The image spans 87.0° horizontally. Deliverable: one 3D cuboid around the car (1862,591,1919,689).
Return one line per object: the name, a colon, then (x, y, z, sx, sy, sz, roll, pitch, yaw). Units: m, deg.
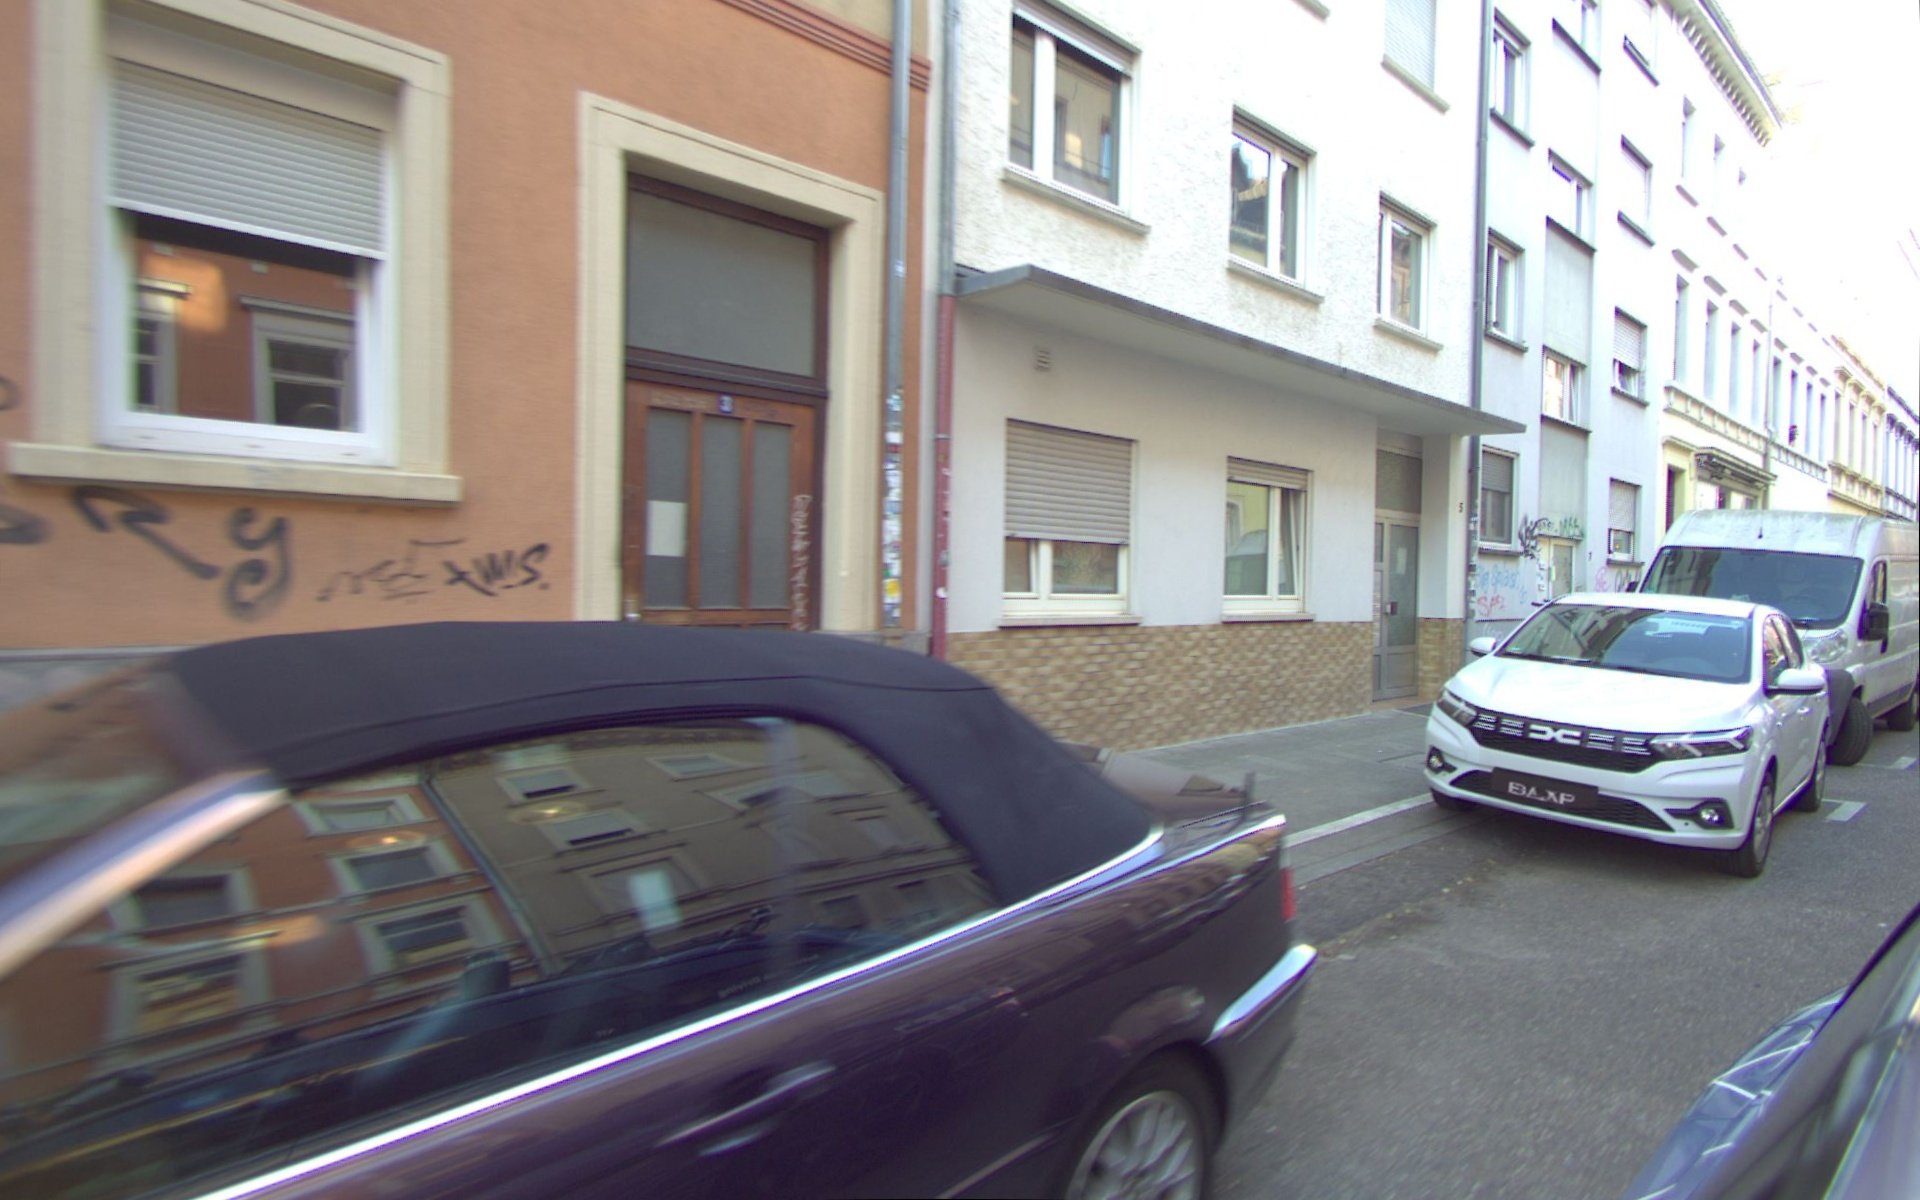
car: (17.077, 0.636, 17.539, 3.792, 1.585, 1.682, 0, 0, -41)

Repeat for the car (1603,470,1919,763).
car: (9.542, 0.130, 11.457, 5.915, 2.545, 2.049, 0, 0, -39)

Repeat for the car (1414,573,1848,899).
car: (4.691, 0.650, 6.843, 3.796, 1.579, 1.680, 0, 0, -44)

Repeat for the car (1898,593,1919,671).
car: (20.820, 0.623, 20.968, 3.793, 1.539, 1.681, 0, 0, -42)

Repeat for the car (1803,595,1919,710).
car: (13.495, 0.662, 14.430, 3.793, 1.461, 1.682, 0, 0, -41)

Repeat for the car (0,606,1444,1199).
car: (-1.016, 0.738, 1.700, 4.418, 1.412, 1.769, 0, 0, -42)
